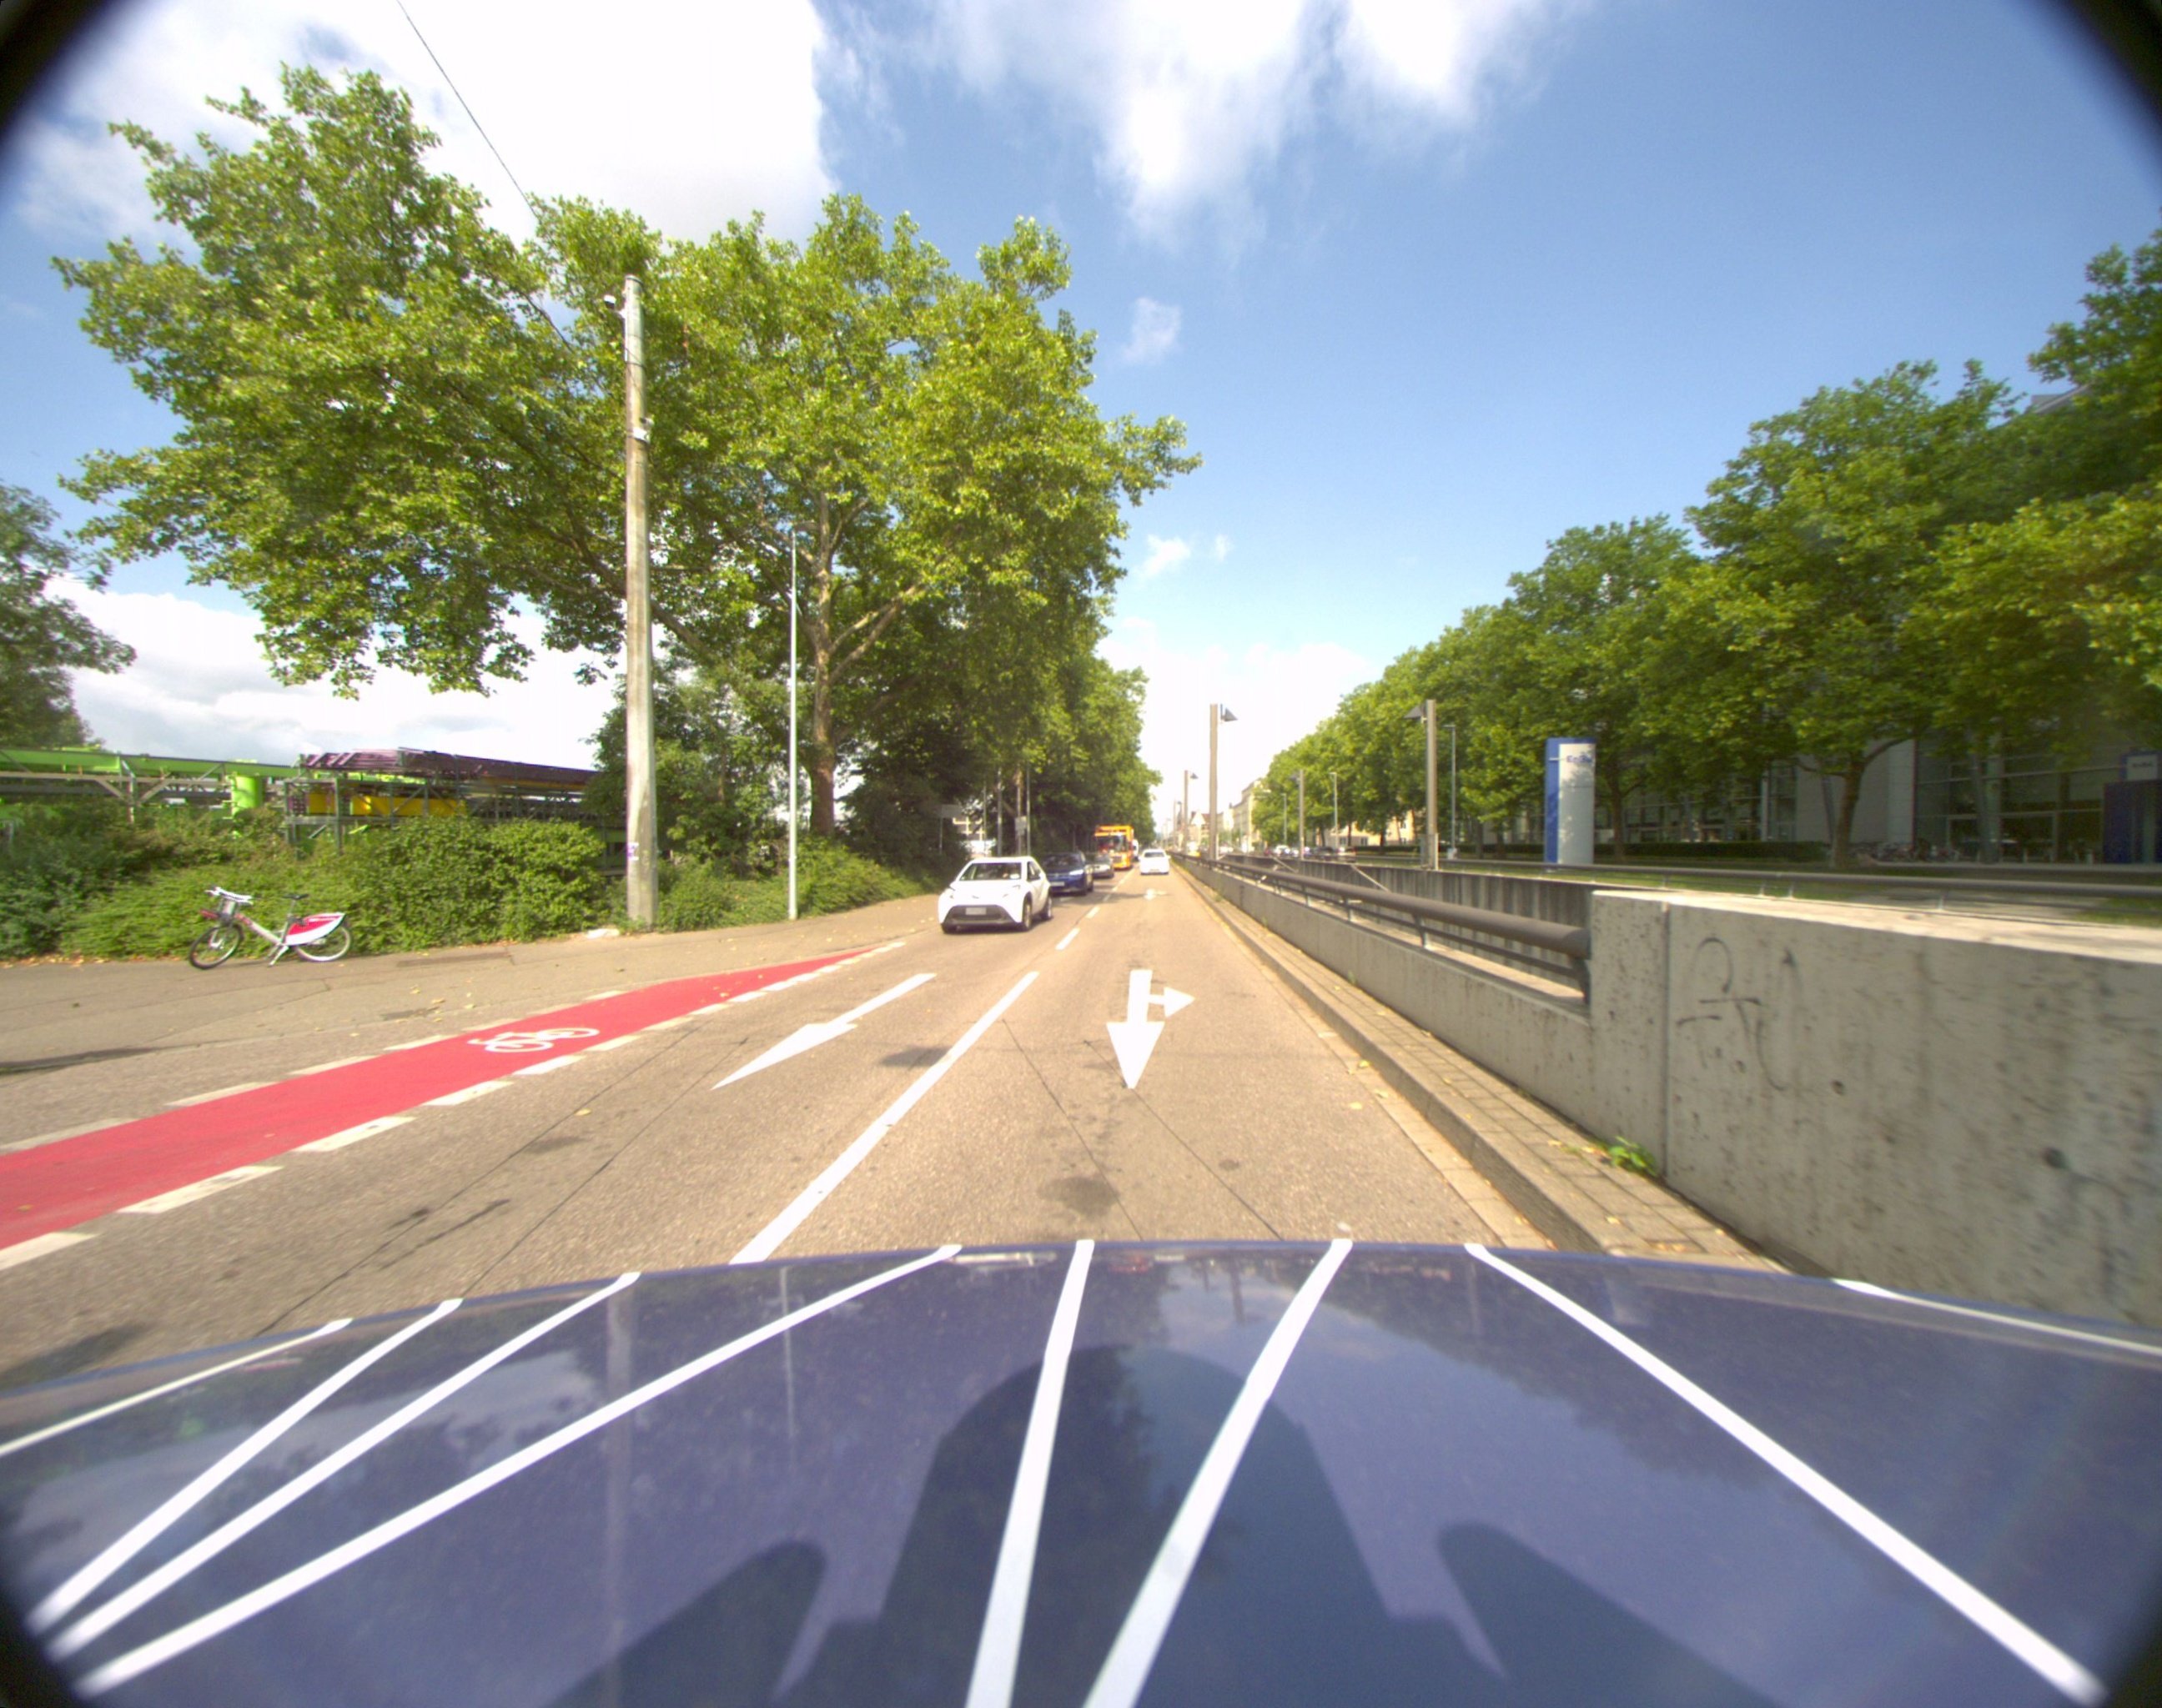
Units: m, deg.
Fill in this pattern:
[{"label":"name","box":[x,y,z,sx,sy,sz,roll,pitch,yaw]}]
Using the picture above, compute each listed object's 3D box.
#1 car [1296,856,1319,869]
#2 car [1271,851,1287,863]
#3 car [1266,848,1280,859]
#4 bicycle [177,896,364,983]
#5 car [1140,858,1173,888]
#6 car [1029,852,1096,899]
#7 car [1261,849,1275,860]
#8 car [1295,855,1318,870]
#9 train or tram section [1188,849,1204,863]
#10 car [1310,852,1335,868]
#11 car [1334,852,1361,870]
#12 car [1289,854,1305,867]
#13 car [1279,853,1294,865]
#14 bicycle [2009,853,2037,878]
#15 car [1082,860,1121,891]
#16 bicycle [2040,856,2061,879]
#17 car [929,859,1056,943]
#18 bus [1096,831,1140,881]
[{"label":"car","box":[22.965,0.862,76.986,1.610,1.198,3.128,0,1,5]},{"label":"car","box":[23.993,0.399,92.090,1.308,1.368,3.186,0,1,6]},{"label":"car","box":[24.524,-0.101,97.277,1.308,1.368,3.186,0,1,6]},{"label":"bicycle","box":[-11.038,1.140,10.416,1.639,1.037,0.527,-1,5,-22]},{"label":"car","box":[4.472,1.084,45.534,1.736,1.478,3.602,-5,2,4]},{"label":"car","box":[-0.596,0.725,28.120,1.890,1.566,4.582,-1,0,6]},{"label":"car","box":[25.076,0.029,101.976,1.308,1.368,3.186,0,1,6]},{"label":"car","box":[23.045,0.875,77.645,1.579,1.368,3.897,0,1,6]},{"label":"train or tram section","box":[22.692,0.391,149.817,2.216,2.444,6.248,-2,1,1]},{"label":"car","box":[22.464,0.524,70.740,1.581,1.426,3.158,0,1,6]},{"label":"car","box":[22.335,0.567,63.699,1.420,1.448,3.158,0,1,6]},{"label":"car","box":[23.226,0.701,81.597,1.180,1.236,2.550,-1,1,5]},{"label":"car","box":[23.528,0.550,86.943,1.167,1.368,2.746,0,1,6]},{"label":"bicycle","box":[46.476,0.530,37.470,2.343,1.171,0.812,-1,1,-38]},{"label":"car","box":[1.185,1.125,41.318,1.770,1.455,4.001,-2,1,6]},{"label":"bicycle","box":[46.885,0.631,36.739,2.343,1.017,0.593,-1,1,-38]},{"label":"car","box":[-1.733,0.895,16.145,1.748,1.471,3.800,-2,1,8]},{"label":"bus","box":[2.971,0.062,58.433,2.743,3.446,10.397,-2,1,6]}]
